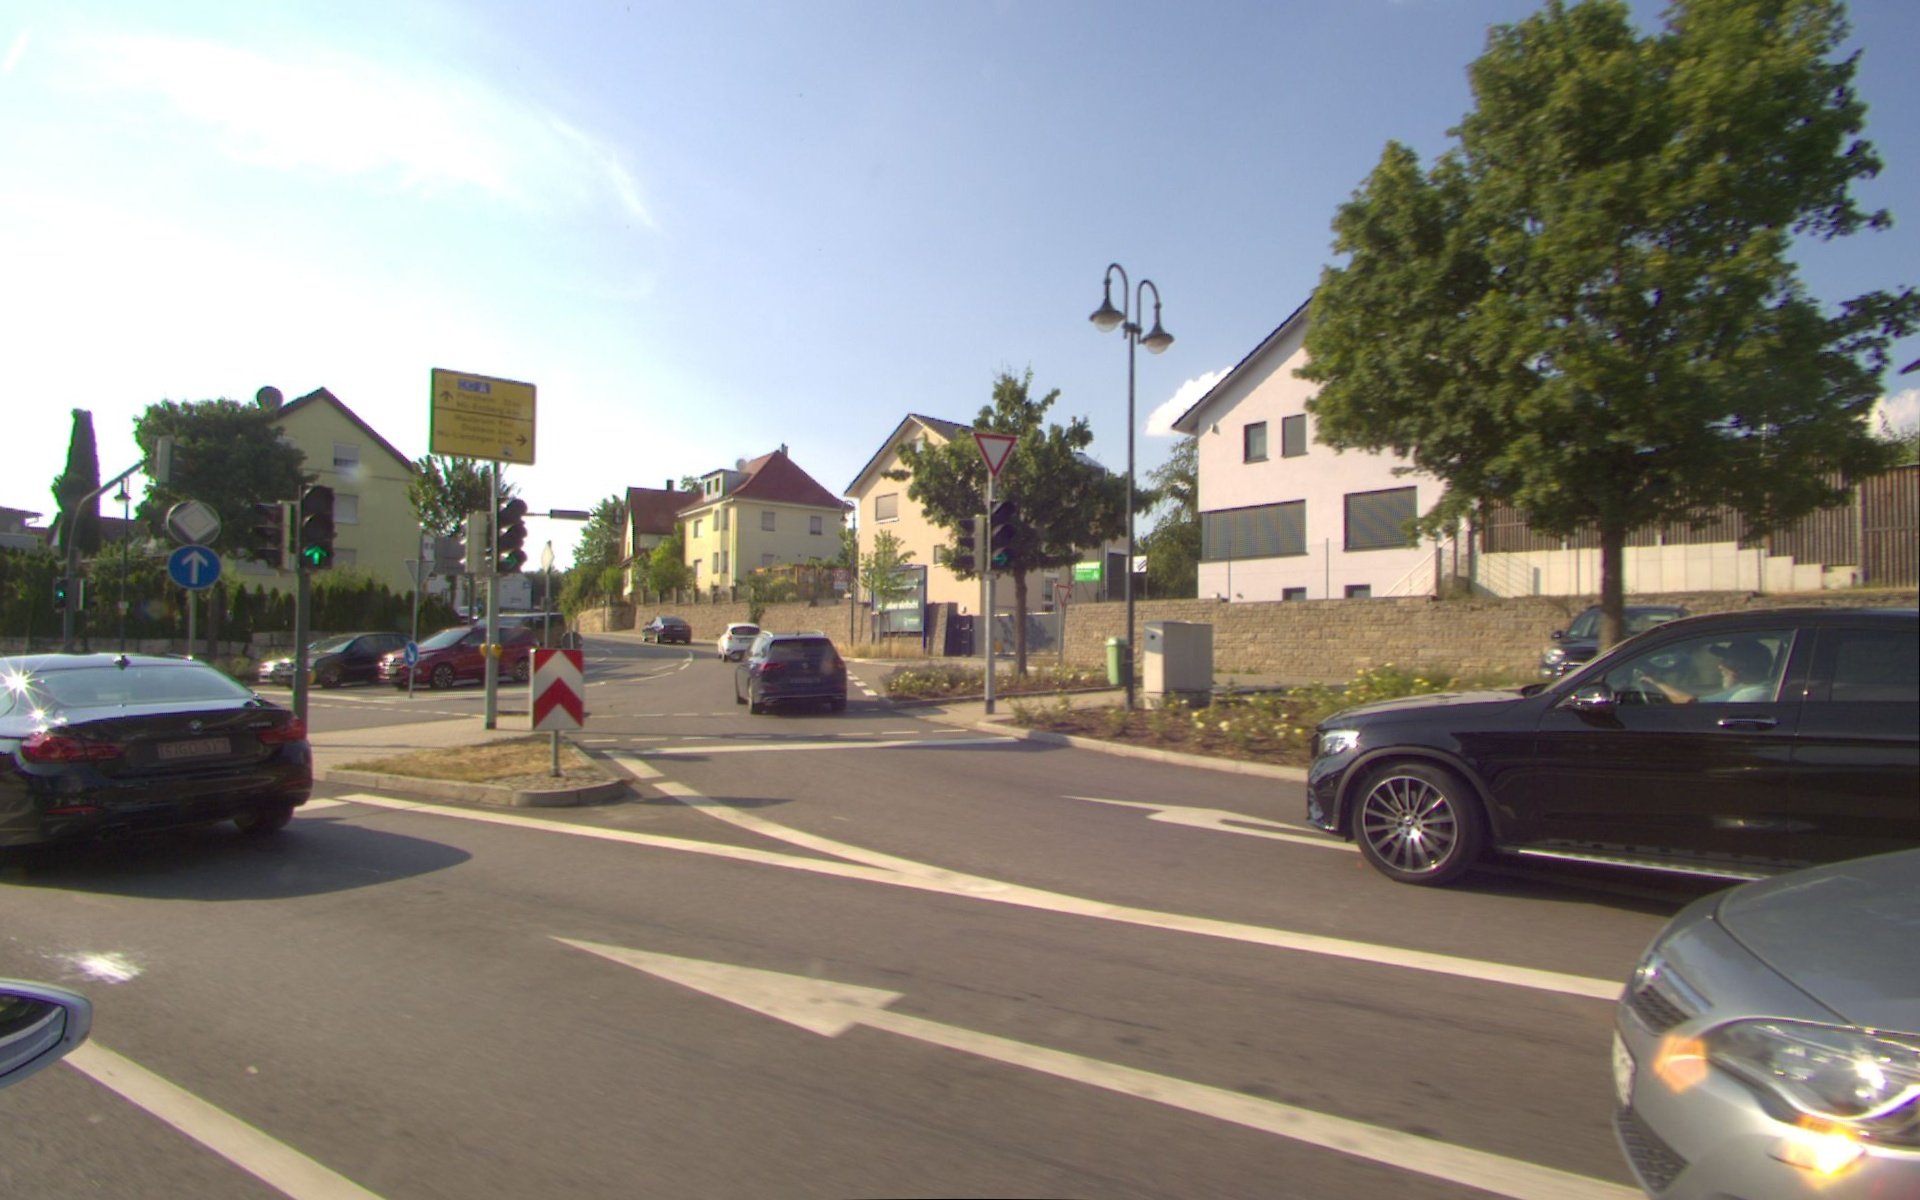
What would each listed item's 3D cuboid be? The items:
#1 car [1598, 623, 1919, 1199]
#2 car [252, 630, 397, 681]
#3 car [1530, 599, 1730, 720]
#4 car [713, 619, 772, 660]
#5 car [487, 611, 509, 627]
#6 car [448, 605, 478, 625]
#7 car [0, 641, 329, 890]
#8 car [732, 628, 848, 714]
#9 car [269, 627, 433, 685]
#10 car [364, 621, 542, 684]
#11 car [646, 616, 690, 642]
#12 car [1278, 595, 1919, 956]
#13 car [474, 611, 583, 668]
[{"bbox_3d":[3.333,0.758,1.368,4.083,1.441,1.645,-1,-1,31],"label":"car"},{"bbox_3d":[-20.325,1.744,32.157,1.602,1.468,3.595,-2,-1,28],"label":"car"},{"bbox_3d":[9.612,0.804,14.244,1.662,1.474,4.043,-1,-3,44],"label":"car"},{"bbox_3d":[-8.672,1.567,39.686,1.836,1.512,3.993,1,-2,-18],"label":"car"},{"bbox_3d":[-43.363,1.802,94.043,1.789,1.361,3.987,1,-2,-24],"label":"car"},{"bbox_3d":[-36.816,1.160,74.175,1.789,1.361,3.987,1,-2,-24],"label":"car"},{"bbox_3d":[-6.792,1.031,7.621,4.200,1.386,1.697,-1,-2,32],"label":"car"},{"bbox_3d":[-3.327,1.262,18.995,1.606,1.428,4.271,1,-2,-17],"label":"car"},{"bbox_3d":[-17.601,1.583,29.102,1.577,1.561,3.778,-1,-2,34],"label":"car"},{"bbox_3d":[-14.181,1.454,28.277,1.832,1.646,4.240,-1,-2,26],"label":"car"},{"bbox_3d":[-15.813,1.593,54.111,1.789,1.361,3.987,1,-2,-24],"label":"car"},{"bbox_3d":[4.272,0.801,5.550,4.441,1.587,1.832,-1,-1,39],"label":"car"},{"bbox_3d":[-15.957,1.473,37.376,1.961,1.956,5.181,0,-2,-2],"label":"car"}]
